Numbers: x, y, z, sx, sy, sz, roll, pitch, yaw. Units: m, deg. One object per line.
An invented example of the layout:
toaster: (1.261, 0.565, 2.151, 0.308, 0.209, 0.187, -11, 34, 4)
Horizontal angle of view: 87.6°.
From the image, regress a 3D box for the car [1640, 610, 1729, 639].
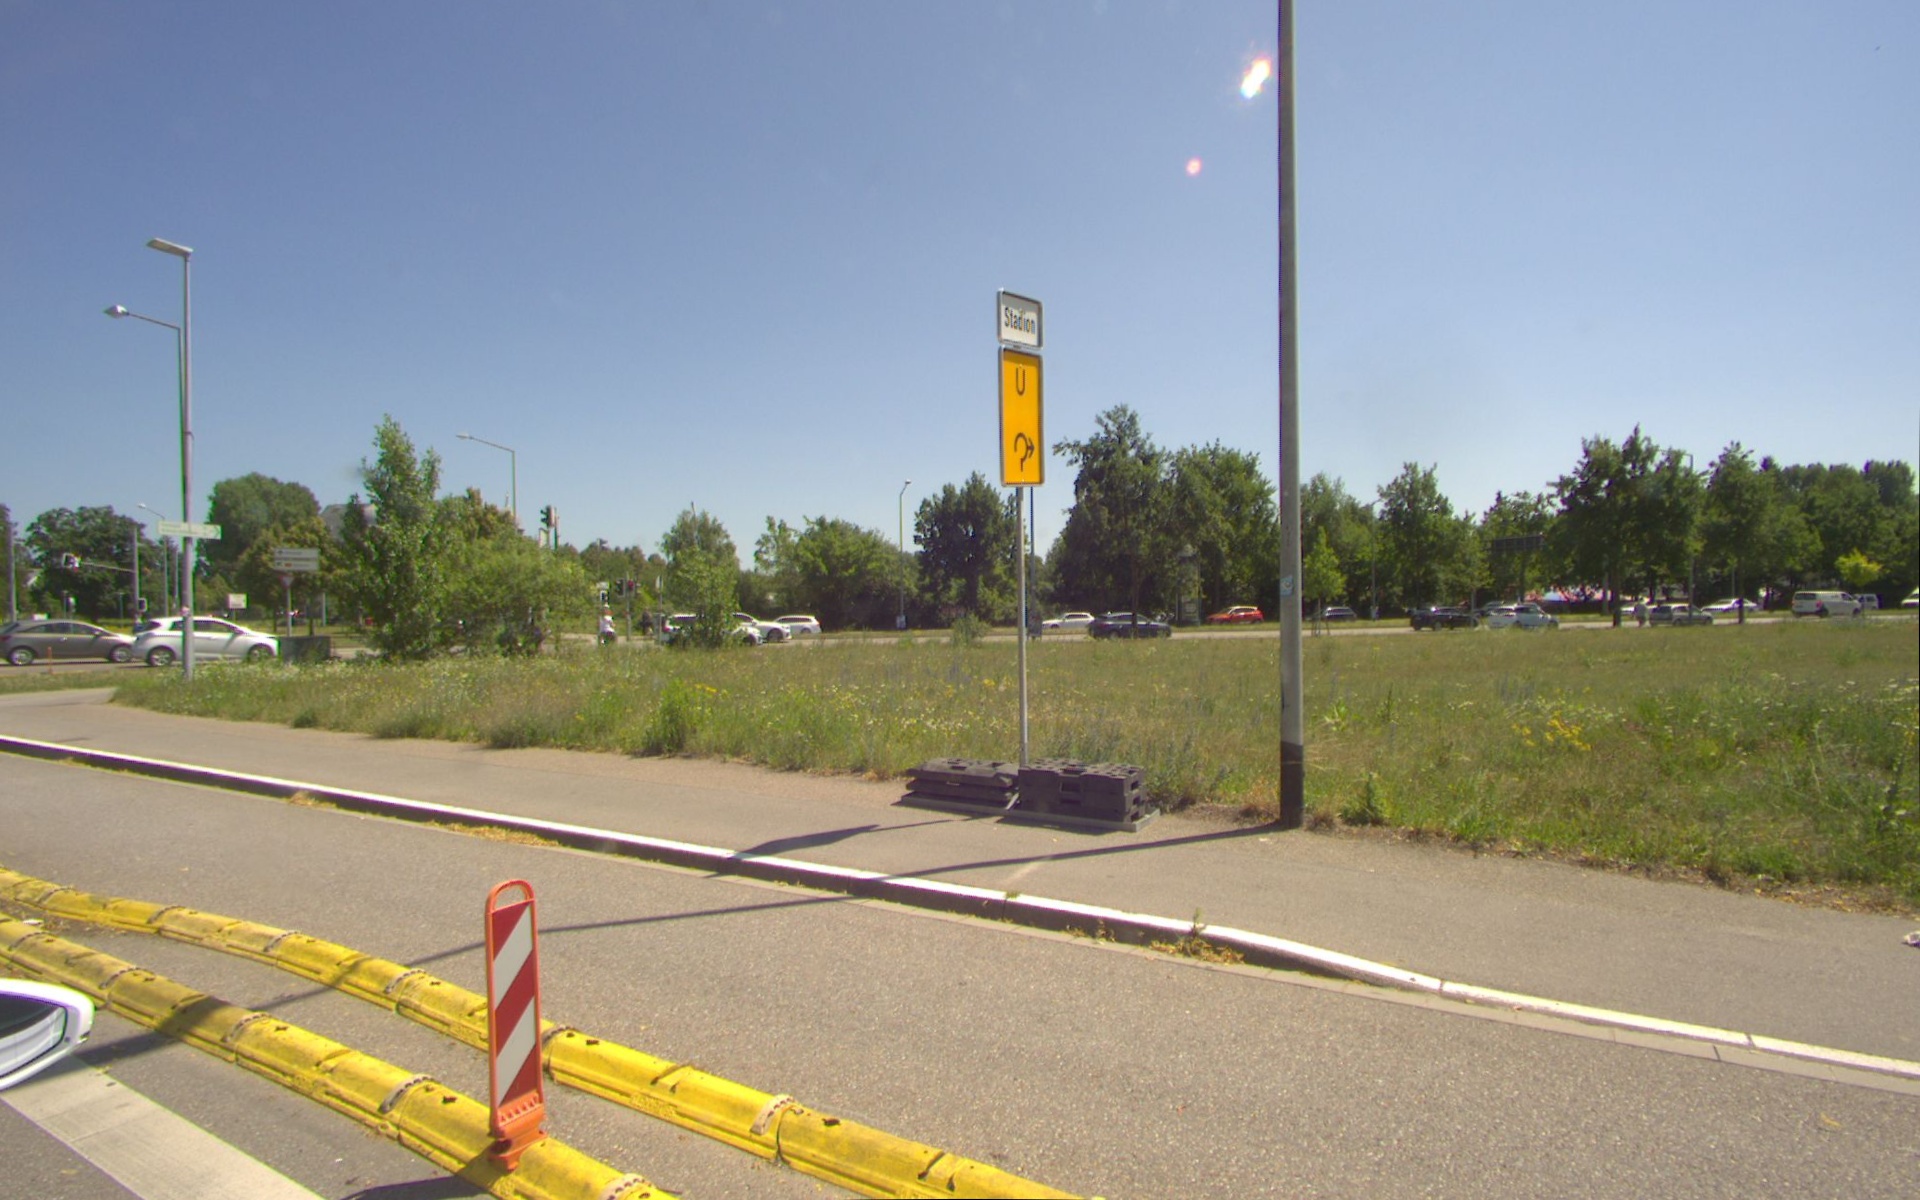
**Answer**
car: (43.574, 1.454, 60.228, 4.855, 1.727, 1.995, 0, -1, -20)

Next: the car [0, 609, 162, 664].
car: (-29.593, 1.176, 33.736, 1.629, 1.517, 3.963, -1, 2, 42)

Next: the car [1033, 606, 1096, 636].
car: (7.267, 1.483, 69.967, 3.928, 2.040, 1.997, 0, -1, -15)

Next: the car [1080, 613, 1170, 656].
car: (8.203, 1.690, 49.830, 3.931, 2.040, 1.996, 0, -1, -19)

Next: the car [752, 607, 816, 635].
car: (-11.348, 1.334, 64.522, 3.928, 1.750, 1.736, 0, -1, -15)

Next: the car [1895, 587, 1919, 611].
car: (87.053, -0.088, 90.020, 4.993, 2.040, 1.997, 0, -1, -15)

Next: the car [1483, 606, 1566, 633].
car: (31.755, 1.108, 56.378, 3.946, 1.463, 1.632, 0, -1, -11)

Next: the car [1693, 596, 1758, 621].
car: (63.560, 0.721, 83.140, 4.491, 2.002, 1.997, 0, -1, -15)

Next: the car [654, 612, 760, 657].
car: (-10.839, 1.441, 42.889, 4.193, 1.839, 1.994, 0, -1, -22)

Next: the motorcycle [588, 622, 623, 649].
motorcycle: (-13.149, 1.311, 37.189, 0.619, 0.982, 1.709, 0, -1, 3)

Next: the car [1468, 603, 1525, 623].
car: (42.879, 1.084, 80.073, 3.928, 1.572, 1.738, 0, -1, -16)

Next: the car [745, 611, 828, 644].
car: (-8.733, 1.365, 50.315, 3.929, 1.605, 1.837, 0, -1, -16)

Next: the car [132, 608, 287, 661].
car: (-24.572, 1.113, 32.866, 3.970, 1.641, 1.665, 1, -1, -42)

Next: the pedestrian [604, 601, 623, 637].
pedestrian: (-18.321, 0.999, 52.979, 0.726, 1.894, 0.648, -1, -1, 34)

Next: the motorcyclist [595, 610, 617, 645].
motorcyclist: (-13.174, 1.021, 37.234, 0.570, 1.306, 0.615, 0, -1, 3)

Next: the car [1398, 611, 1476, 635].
car: (28.194, 1.361, 59.222, 3.931, 1.425, 1.996, 0, -1, -19)

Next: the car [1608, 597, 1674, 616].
car: (57.576, 0.561, 84.676, 4.696, 1.590, 1.997, 0, -1, -15)

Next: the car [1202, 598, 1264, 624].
car: (19.111, 0.774, 70.187, 3.690, 1.739, 1.998, 0, -1, -13)

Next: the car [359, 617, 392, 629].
car: (-87.493, 3.504, 149.959, 1.963, 1.736, 3.997, 0, -1, 14)

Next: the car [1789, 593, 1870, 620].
car: (61.700, 0.468, 71.054, 4.897, 1.874, 1.997, 0, -1, -16)

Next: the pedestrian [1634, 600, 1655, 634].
pedestrian: (32.159, 0.806, 47.053, 0.724, 1.583, 0.497, 0, 0, -18)

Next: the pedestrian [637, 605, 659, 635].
pedestrian: (-16.562, 1.068, 53.119, 0.811, 1.583, 0.790, -1, -1, 33)
